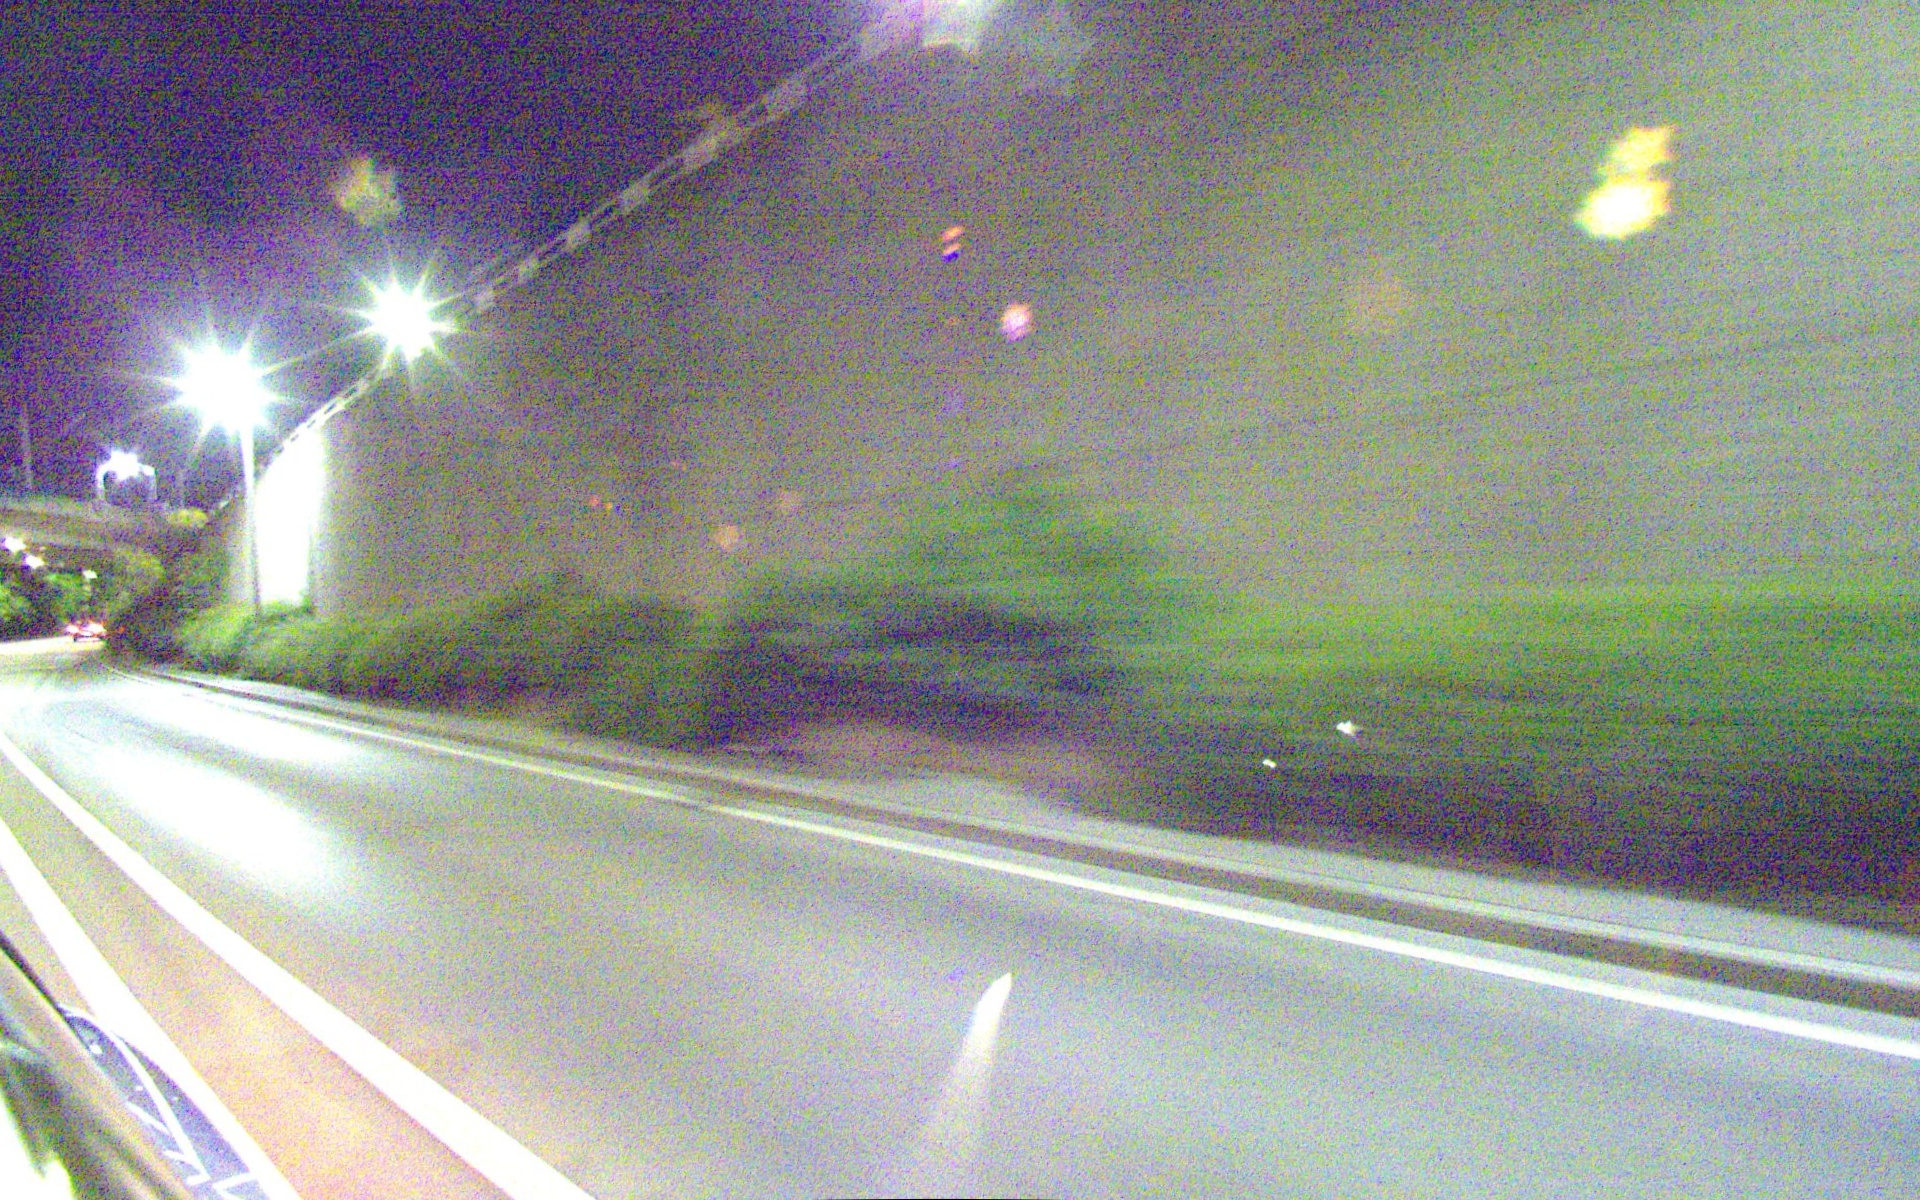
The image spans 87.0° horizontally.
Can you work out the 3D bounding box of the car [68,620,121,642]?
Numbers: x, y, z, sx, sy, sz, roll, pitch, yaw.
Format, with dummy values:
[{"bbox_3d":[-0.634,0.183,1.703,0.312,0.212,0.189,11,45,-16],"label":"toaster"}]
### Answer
[{"bbox_3d":[-65.262,2.295,76.366,1.832,1.521,4.013,-1,0,-21],"label":"car"}]
